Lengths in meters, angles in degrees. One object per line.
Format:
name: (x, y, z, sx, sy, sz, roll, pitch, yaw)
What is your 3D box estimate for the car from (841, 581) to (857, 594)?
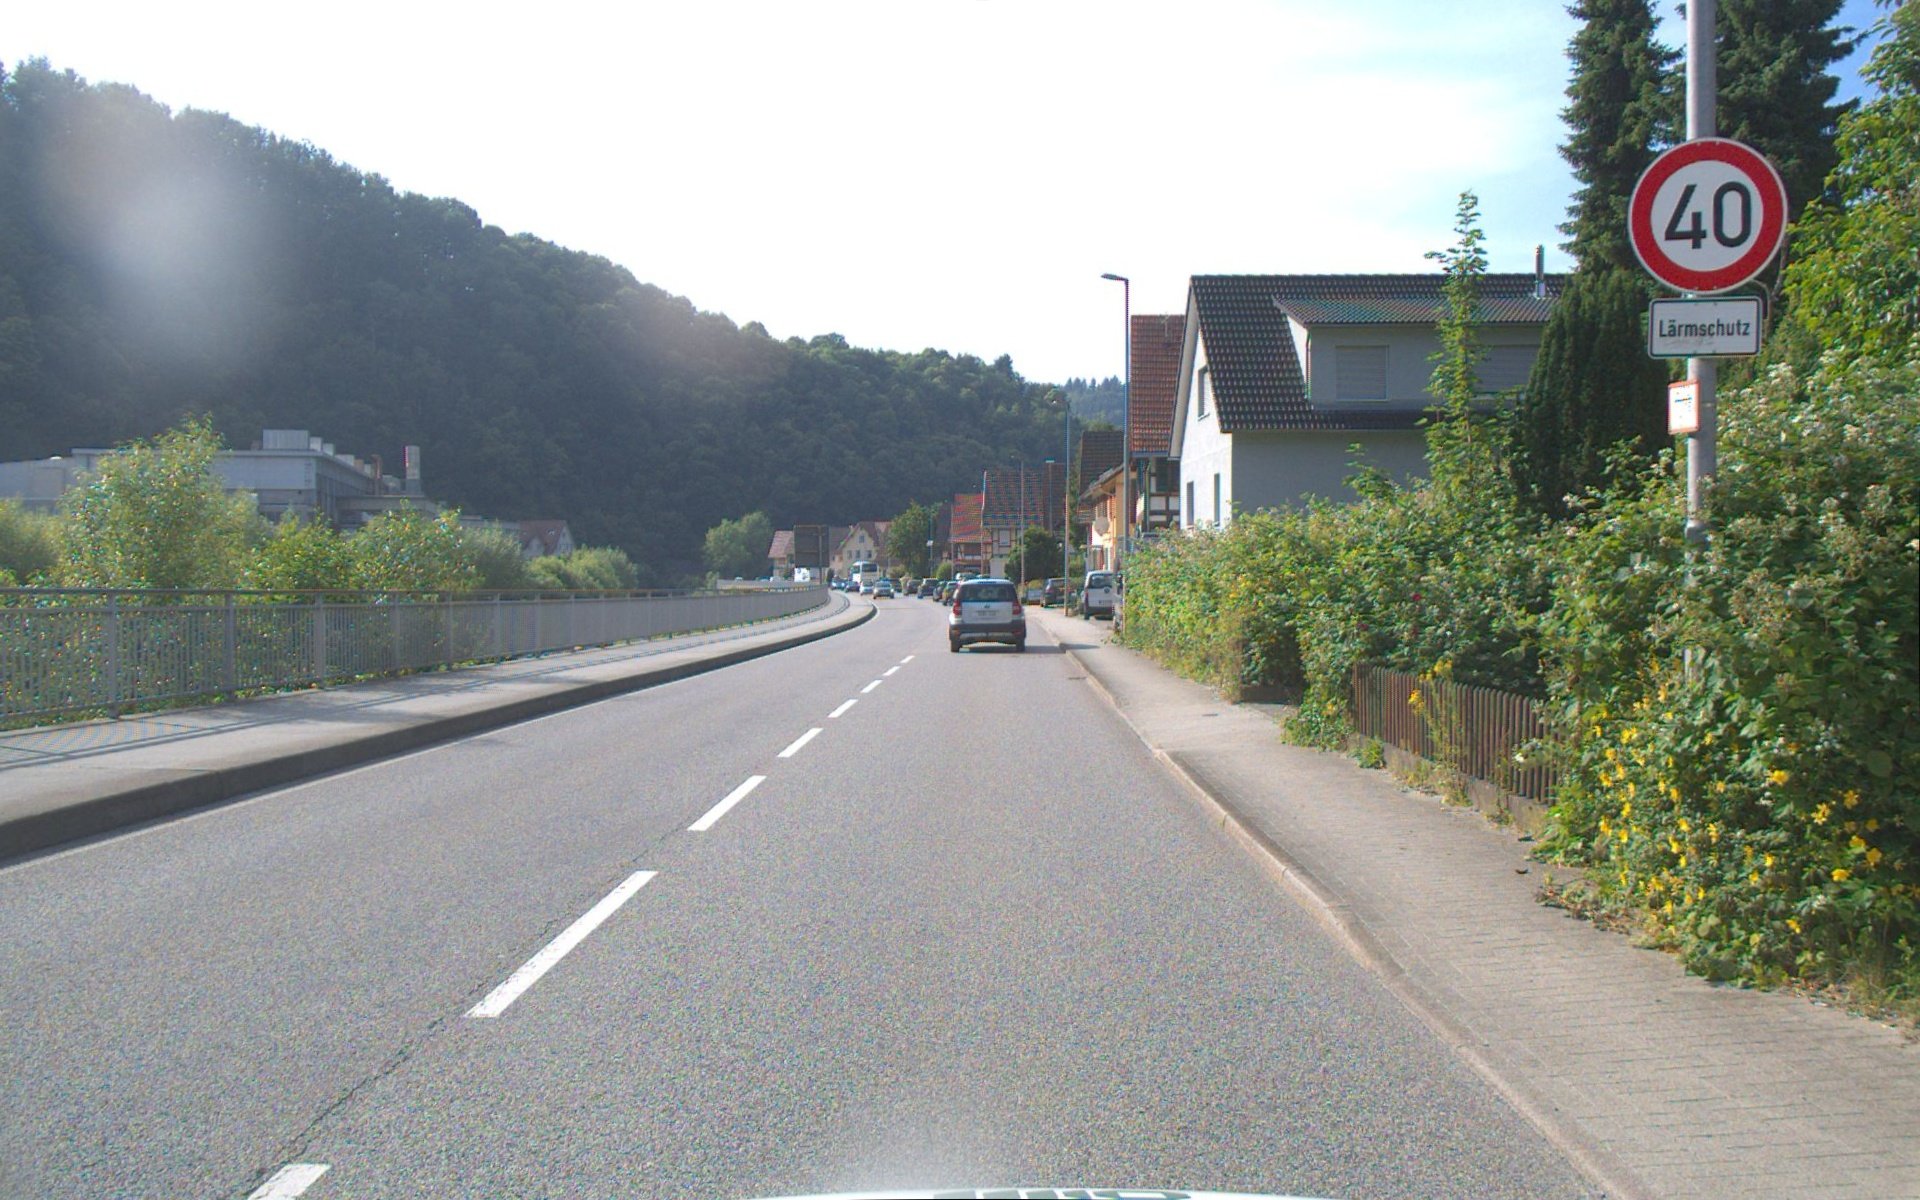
car: (-13.649, -1.565, 203.648, 1.715, 1.571, 3.995, 0, 2, -7)

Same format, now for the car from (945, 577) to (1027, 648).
car: (0.642, 0.270, 39.112, 1.822, 1.571, 4.374, 0, 0, 2)

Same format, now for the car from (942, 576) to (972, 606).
car: (-0.161, -0.457, 89.460, 1.589, 1.568, 3.278, 0, 0, 0)

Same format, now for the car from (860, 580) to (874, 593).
car: (-9.546, -1.370, 170.012, 1.337, 1.300, 3.081, 0, 0, -3)

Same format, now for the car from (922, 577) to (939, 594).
car: (-2.425, -1.185, 135.690, 1.337, 1.300, 3.082, 0, 0, -2)

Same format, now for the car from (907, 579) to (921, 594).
car: (-4.363, -1.273, 156.336, 1.337, 1.300, 3.082, 0, 0, -2)

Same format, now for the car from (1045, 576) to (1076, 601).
car: (5.161, -0.561, 85.109, 1.512, 1.238, 3.278, 0, 0, 3)

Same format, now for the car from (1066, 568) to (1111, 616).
car: (4.710, -0.266, 60.367, 1.576, 1.674, 3.653, 0, 0, 5)

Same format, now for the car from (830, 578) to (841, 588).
car: (-17.124, -2.372, 227.032, 1.338, 1.300, 3.078, 0, 0, -7)

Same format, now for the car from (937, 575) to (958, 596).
car: (-0.917, -1.041, 118.311, 1.449, 1.485, 3.082, 0, 0, -1)

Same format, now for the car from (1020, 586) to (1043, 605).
car: (4.024, -0.250, 92.868, 1.269, 0.991, 2.923, 0, 0, 2)

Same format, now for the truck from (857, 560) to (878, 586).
truck: (-12.199, -3.583, 218.764, 2.674, 3.433, 6.475, 0, 2, -3)

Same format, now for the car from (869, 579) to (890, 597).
car: (-6.757, -0.993, 139.088, 1.403, 1.407, 3.137, 0, 2, 3)

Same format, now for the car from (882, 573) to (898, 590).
car: (-7.922, -2.102, 186.871, 1.640, 1.783, 3.449, 0, 2, 1)

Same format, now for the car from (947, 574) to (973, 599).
car: (-0.017, -0.824, 103.735, 1.577, 1.485, 3.345, 0, 0, -1)
